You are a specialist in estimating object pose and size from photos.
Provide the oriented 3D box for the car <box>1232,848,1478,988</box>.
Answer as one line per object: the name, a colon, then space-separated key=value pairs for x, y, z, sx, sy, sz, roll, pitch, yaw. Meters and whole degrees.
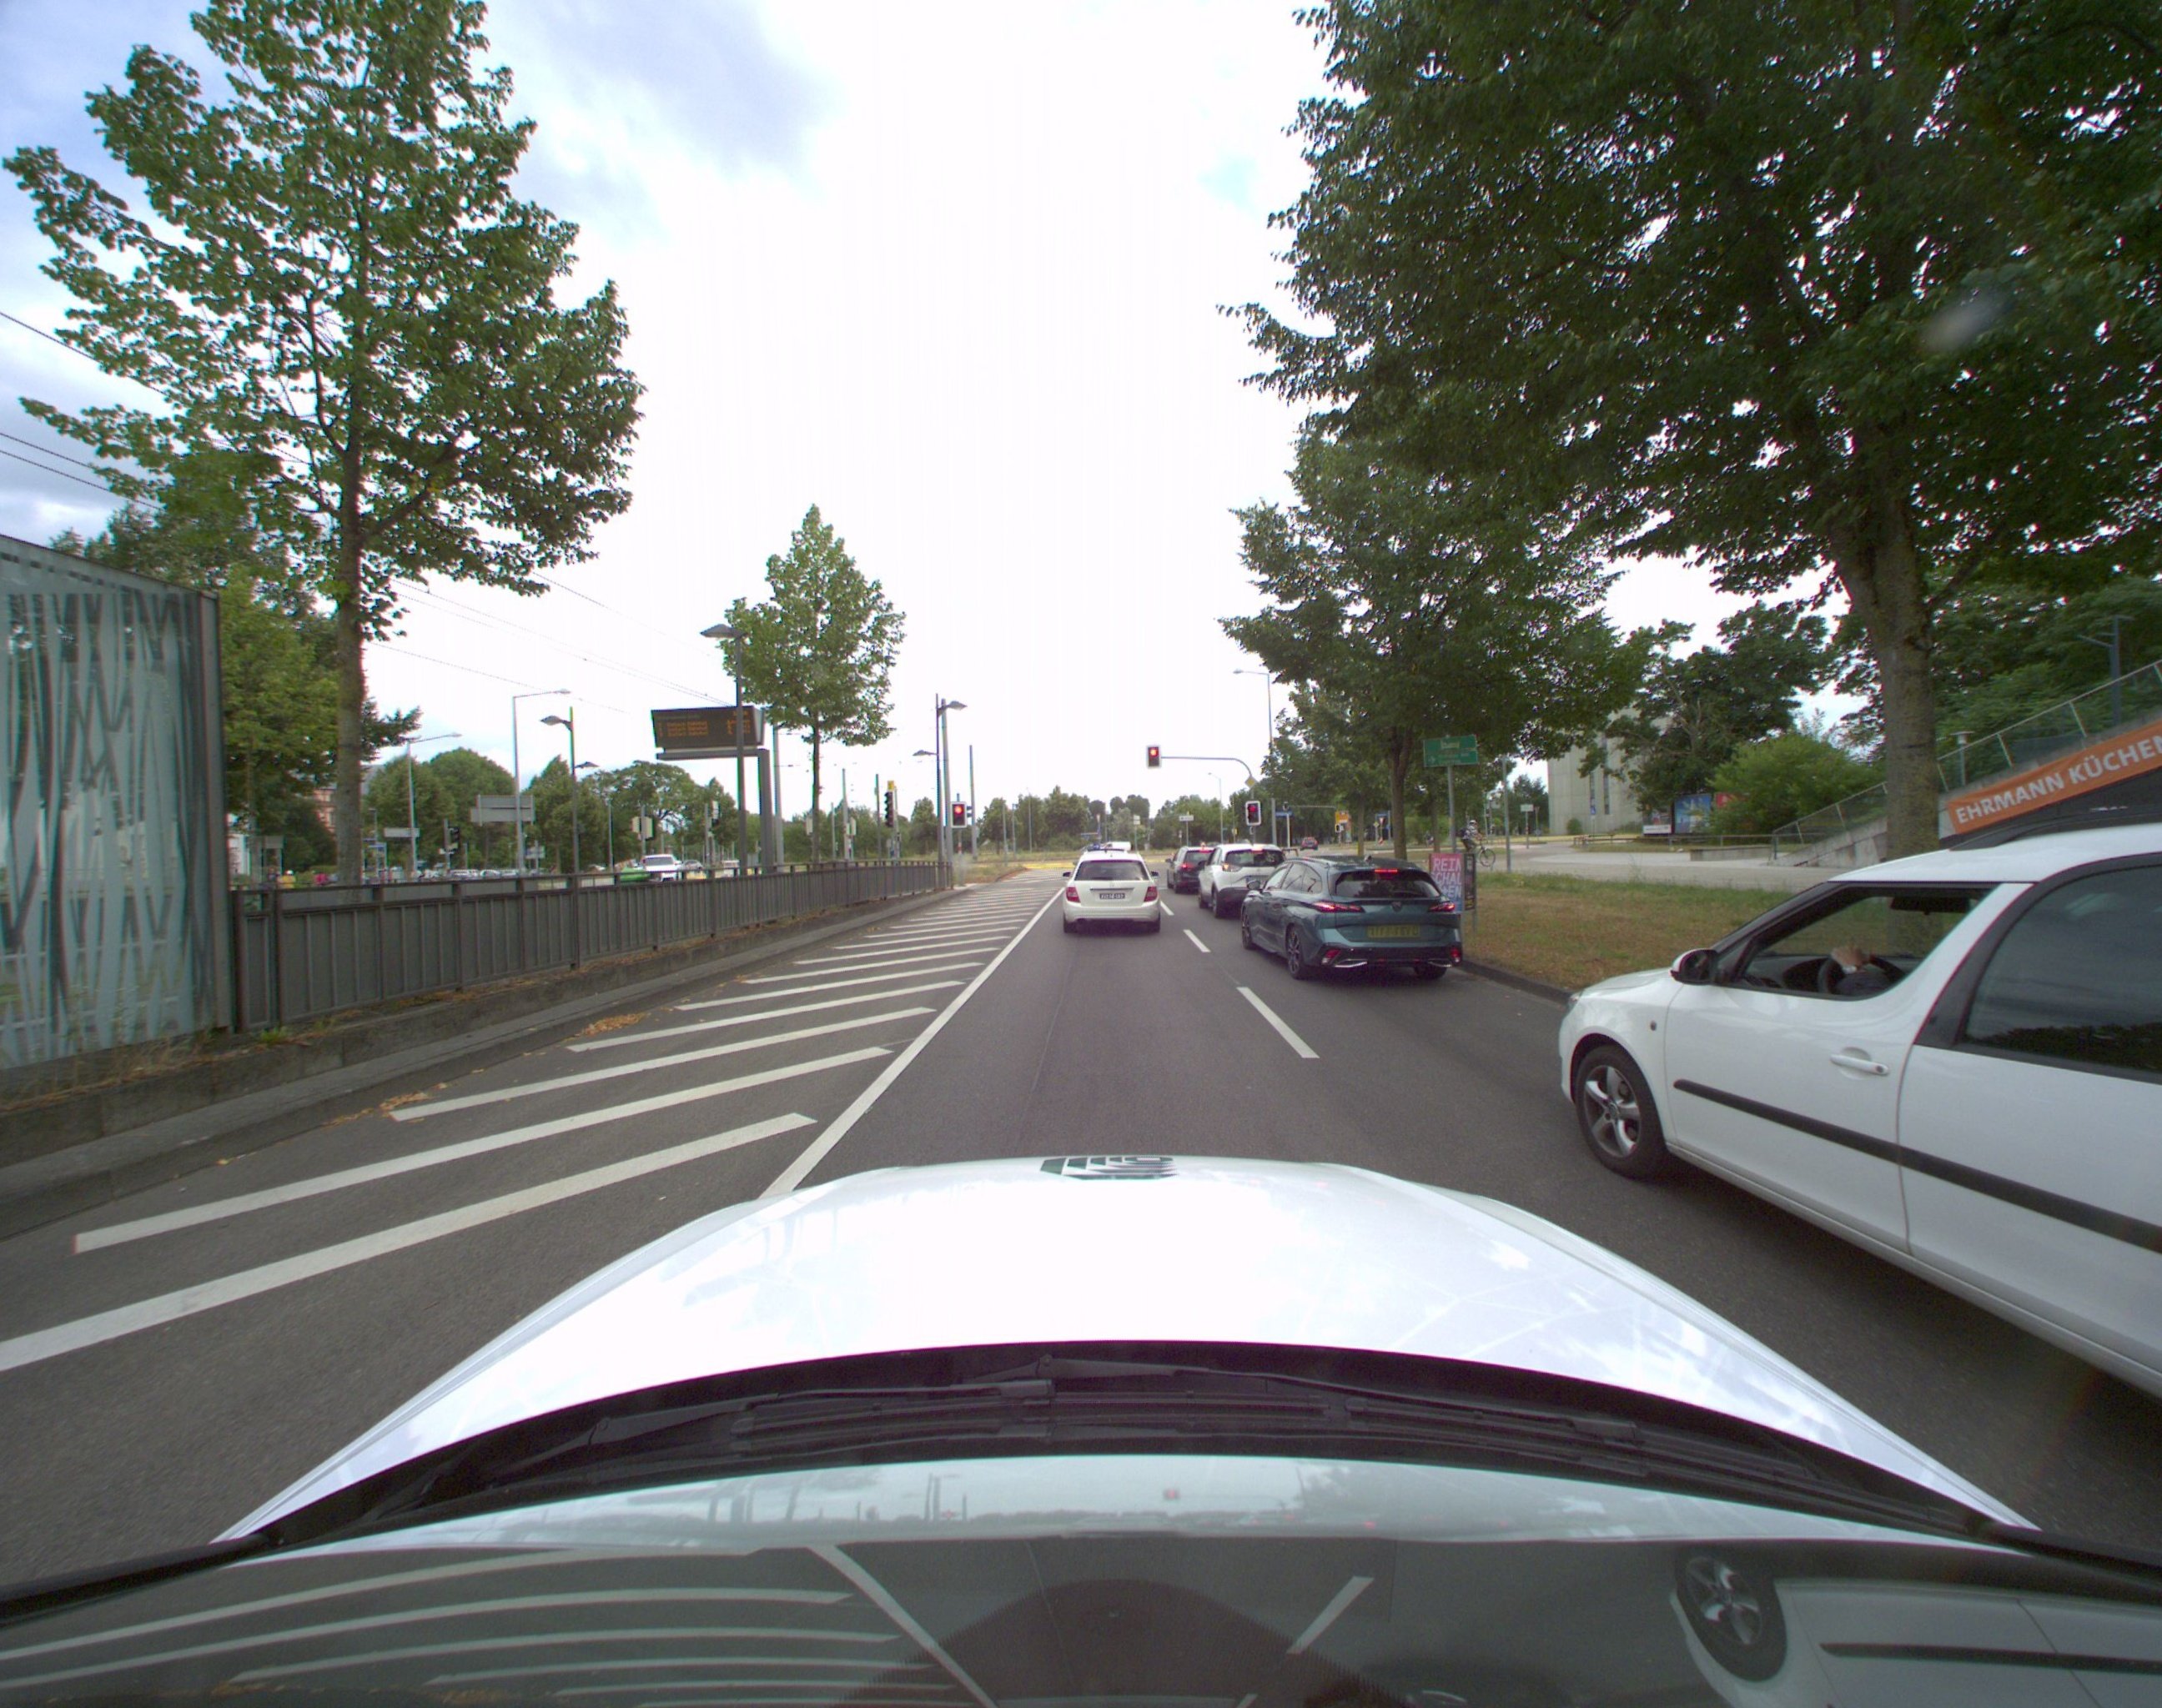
car: x=3.310 y=0.664 z=10.791 sx=1.782 sy=1.432 sz=4.310 roll=-1 pitch=0 yaw=0

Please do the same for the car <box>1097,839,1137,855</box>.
car: x=4.885 y=-0.903 z=109.813 sx=5.002 sy=2.013 sz=1.986 roll=-2 pitch=1 yaw=-21

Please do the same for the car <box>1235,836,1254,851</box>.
car: x=19.964 y=-1.254 z=99.645 sx=1.982 sy=1.791 sz=4.009 roll=0 pitch=0 yaw=8

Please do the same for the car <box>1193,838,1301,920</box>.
car: x=3.694 y=0.497 z=18.779 sx=1.780 sy=1.624 sz=3.913 roll=-2 pitch=0 yaw=2

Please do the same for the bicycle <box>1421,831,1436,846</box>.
bicycle: x=35.939 y=-1.550 z=84.328 sx=0.702 sy=1.505 sz=2.008 roll=0 pitch=0 yaw=1

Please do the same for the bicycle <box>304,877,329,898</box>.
bicycle: x=-44.345 y=1.911 z=47.260 sx=0.813 sy=1.129 sz=2.676 roll=-2 pitch=1 yaw=-39

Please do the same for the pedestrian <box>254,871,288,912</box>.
pedestrian: x=-39.461 y=1.834 z=39.666 sx=0.652 sy=1.849 sz=0.487 roll=20 pitch=-5 yaw=-36

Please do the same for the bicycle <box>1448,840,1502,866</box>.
bicycle: x=15.974 y=-0.056 z=33.024 sx=1.927 sy=0.984 sz=0.564 roll=-2 pitch=0 yaw=0

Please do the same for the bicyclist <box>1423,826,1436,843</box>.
bicyclist: x=35.940 y=-1.991 z=84.083 sx=0.863 sy=1.789 sz=1.174 roll=0 pitch=0 yaw=0

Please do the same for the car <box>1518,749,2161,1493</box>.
car: x=3.296 y=0.560 z=2.552 sx=1.772 sy=1.656 sz=4.025 roll=-2 pitch=0 yaw=2

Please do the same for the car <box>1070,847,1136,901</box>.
car: x=0.615 y=0.524 z=23.912 sx=1.768 sy=1.448 sz=3.910 roll=-1 pitch=0 yaw=0

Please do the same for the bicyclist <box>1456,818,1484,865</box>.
bicyclist: x=15.762 y=-0.511 z=32.989 sx=0.726 sy=1.885 sz=0.734 roll=-2 pitch=0 yaw=0

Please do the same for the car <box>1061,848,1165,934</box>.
car: x=0.557 y=0.617 z=15.833 sx=1.768 sy=1.448 sz=3.910 roll=-1 pitch=0 yaw=0

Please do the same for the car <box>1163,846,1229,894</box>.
car: x=3.718 y=0.481 z=26.819 sx=1.619 sy=1.448 sz=3.910 roll=-1 pitch=0 yaw=0

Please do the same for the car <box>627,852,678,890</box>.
car: x=-20.302 y=0.787 z=38.639 sx=2.005 sy=1.618 sz=4.345 roll=-2 pitch=1 yaw=-28

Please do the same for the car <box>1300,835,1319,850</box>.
car: x=26.419 y=-1.316 z=94.292 sx=1.771 sy=1.636 sz=4.416 roll=-2 pitch=0 yaw=12
